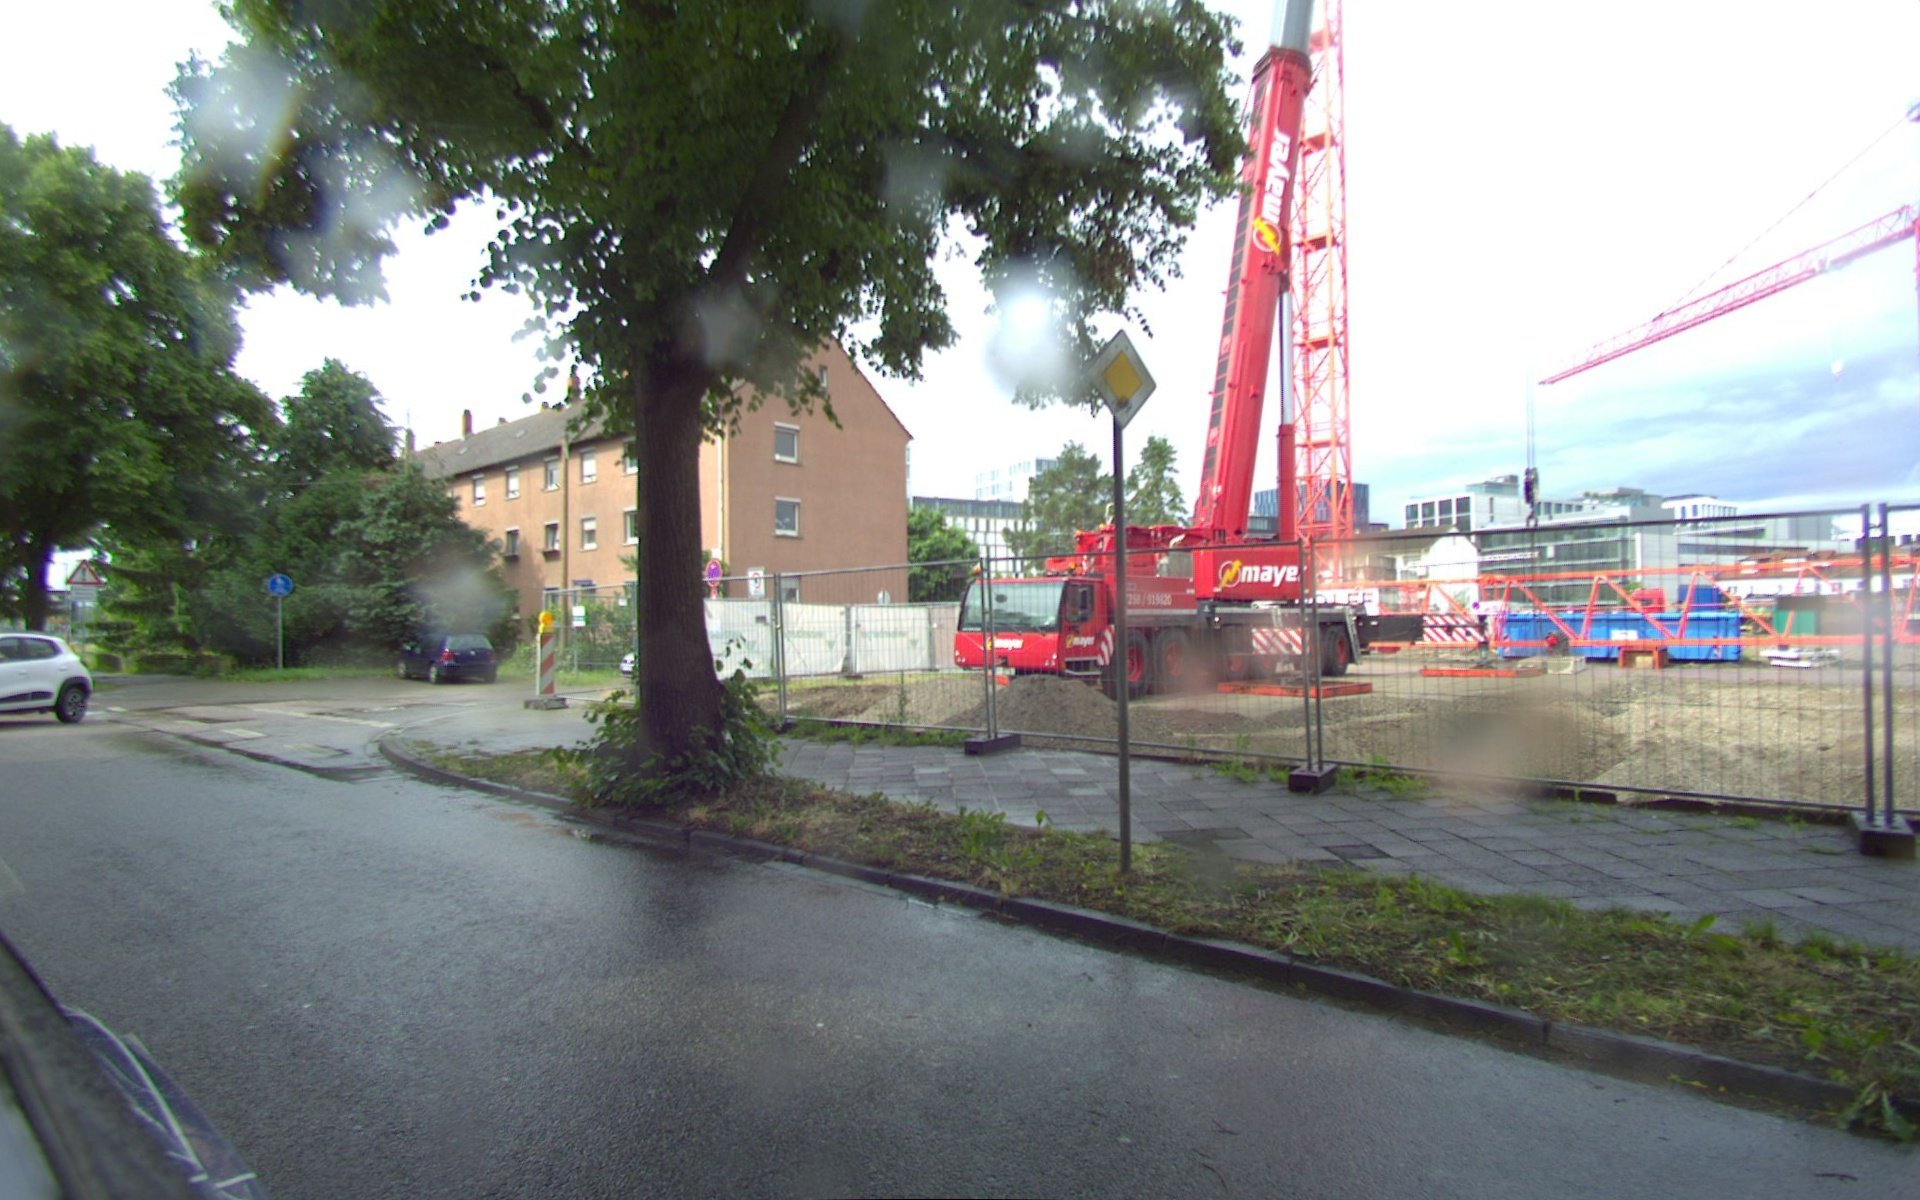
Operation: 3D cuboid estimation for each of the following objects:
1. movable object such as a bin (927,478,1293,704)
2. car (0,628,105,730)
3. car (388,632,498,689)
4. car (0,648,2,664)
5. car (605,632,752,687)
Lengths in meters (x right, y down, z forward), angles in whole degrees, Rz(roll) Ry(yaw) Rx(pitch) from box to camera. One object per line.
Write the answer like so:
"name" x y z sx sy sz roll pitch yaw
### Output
"movable object such as a bin" 3.885 -0.112 23.331 3.366 4.147 9.704 -3 -2 43
"car" -15.413 1.213 15.521 1.712 1.545 3.619 -1 -2 -4
"car" -15.161 1.708 29.599 3.869 1.431 1.607 0 1 42
"car" -91.221 5.277 95.037 3.794 1.519 1.661 -3 -3 44
"car" -8.416 1.740 30.524 1.726 1.485 4.013 -2 -2 39
